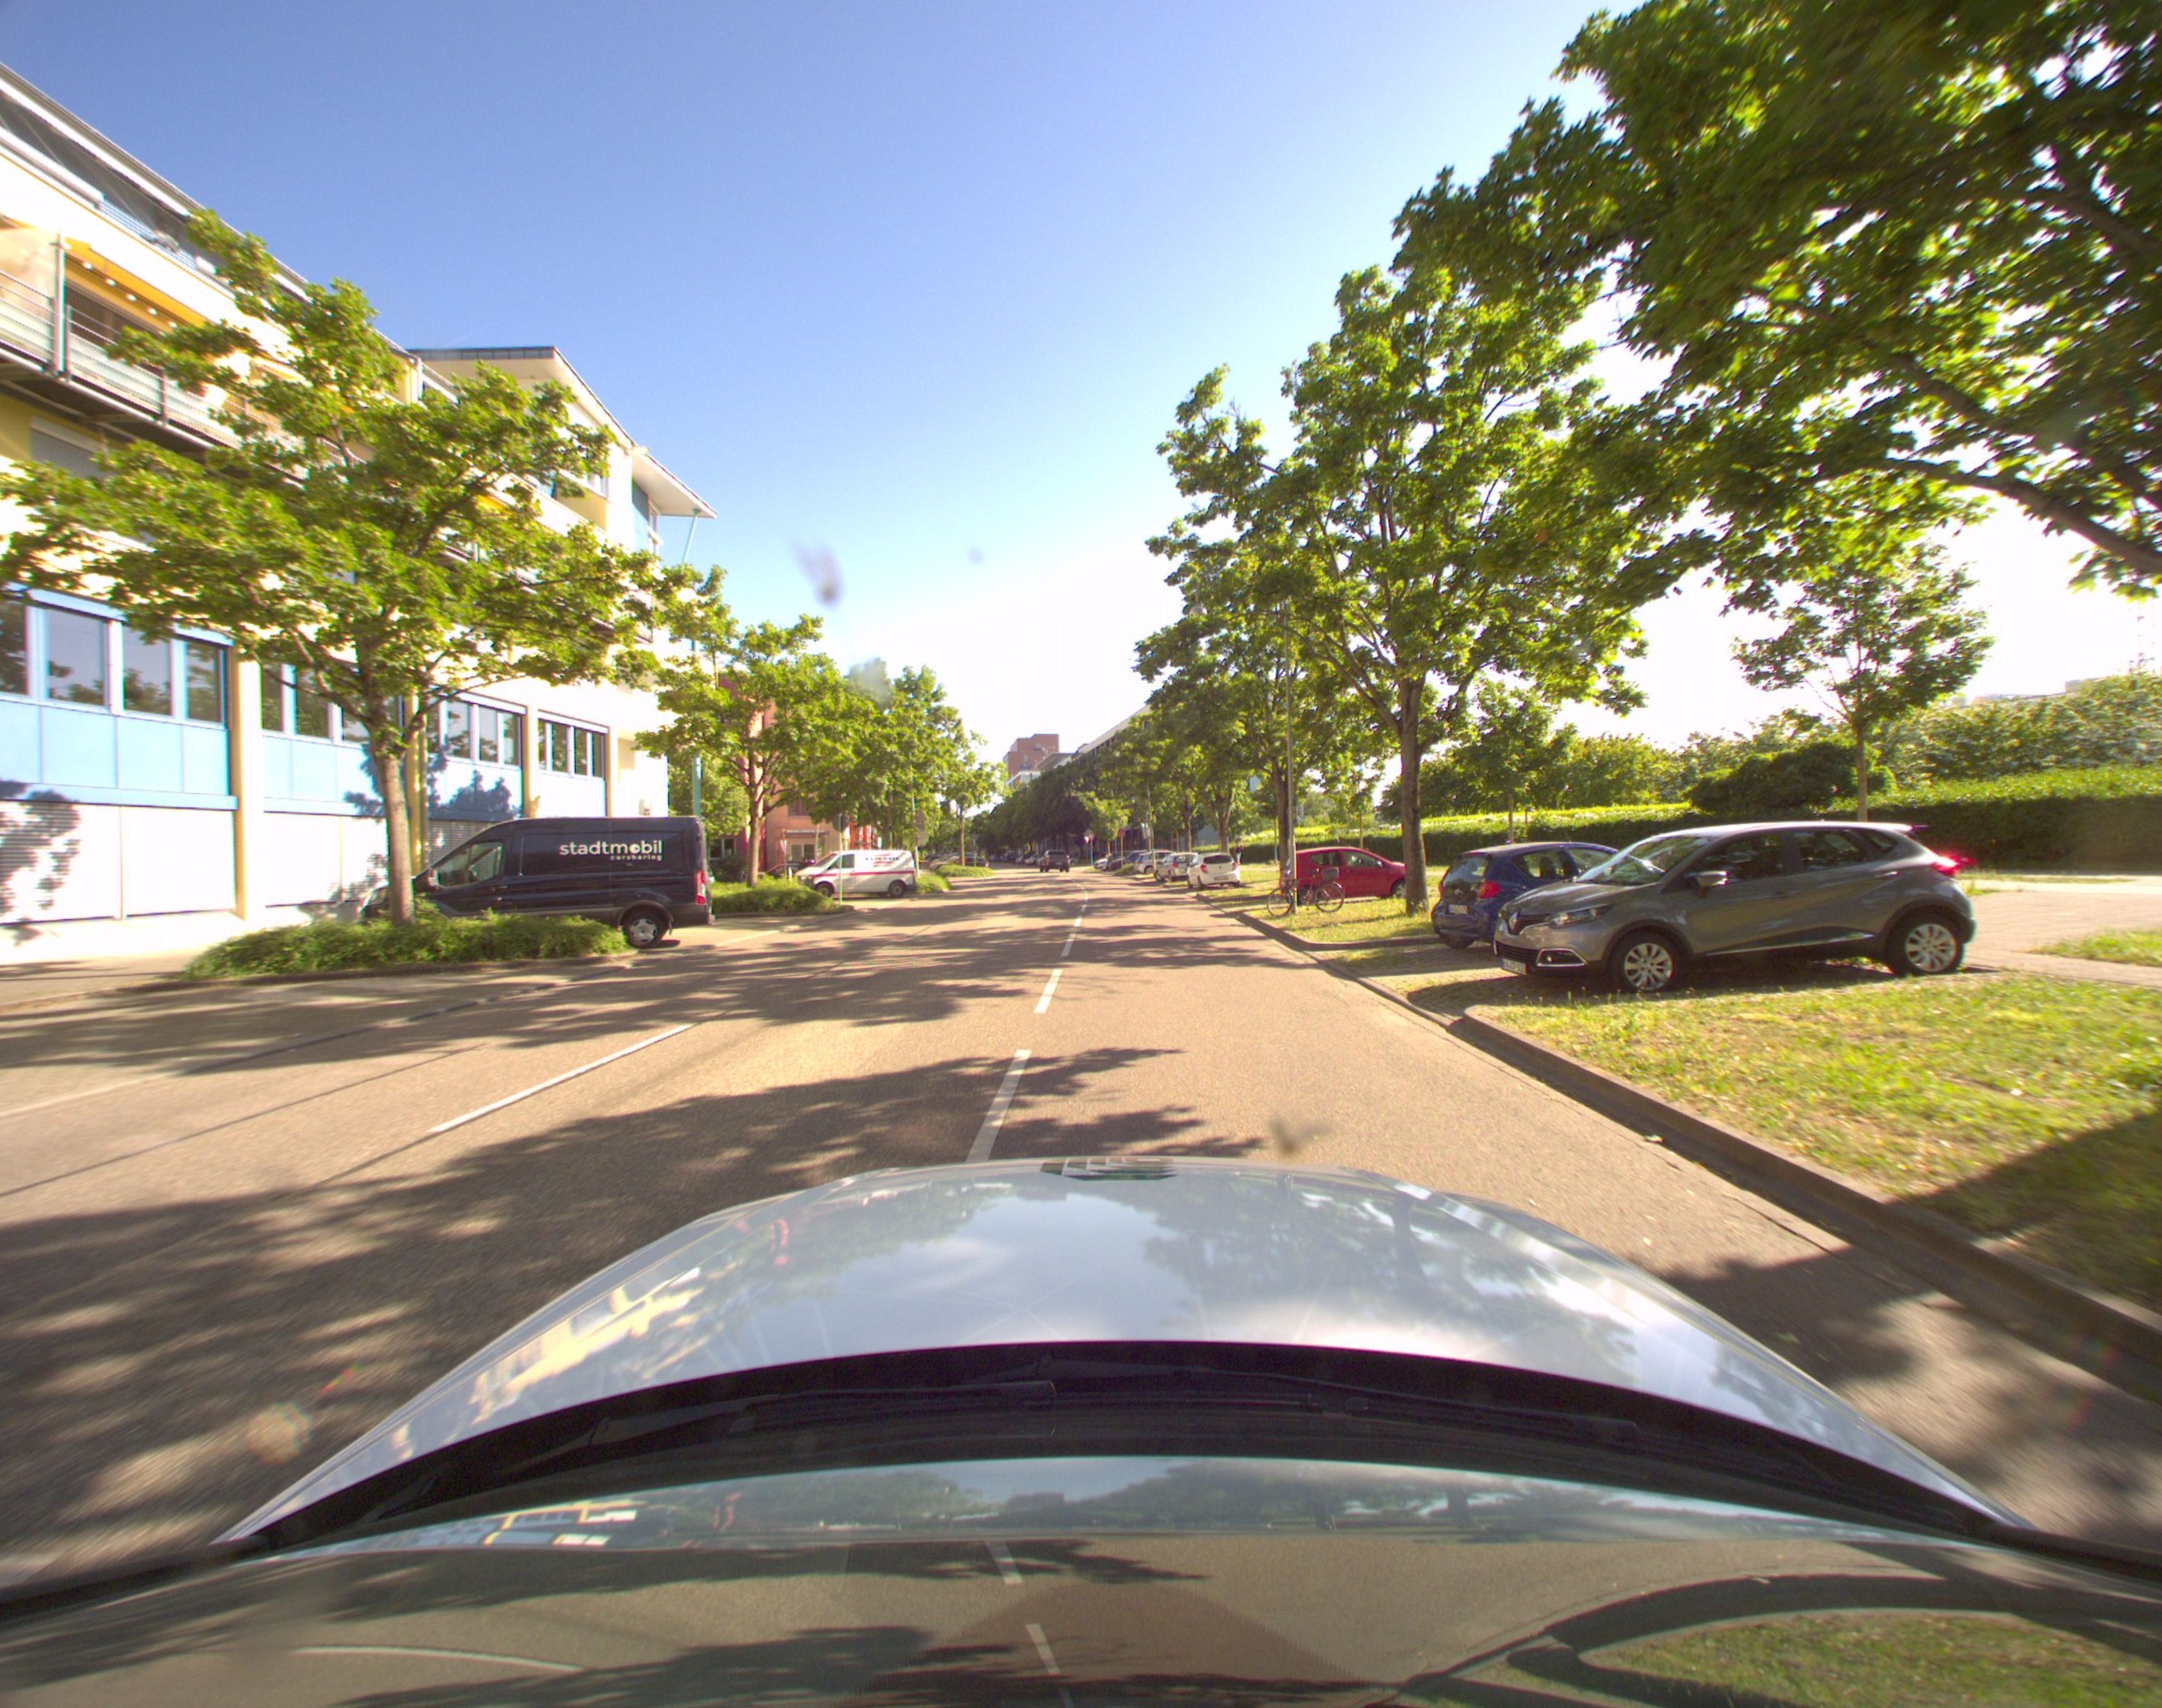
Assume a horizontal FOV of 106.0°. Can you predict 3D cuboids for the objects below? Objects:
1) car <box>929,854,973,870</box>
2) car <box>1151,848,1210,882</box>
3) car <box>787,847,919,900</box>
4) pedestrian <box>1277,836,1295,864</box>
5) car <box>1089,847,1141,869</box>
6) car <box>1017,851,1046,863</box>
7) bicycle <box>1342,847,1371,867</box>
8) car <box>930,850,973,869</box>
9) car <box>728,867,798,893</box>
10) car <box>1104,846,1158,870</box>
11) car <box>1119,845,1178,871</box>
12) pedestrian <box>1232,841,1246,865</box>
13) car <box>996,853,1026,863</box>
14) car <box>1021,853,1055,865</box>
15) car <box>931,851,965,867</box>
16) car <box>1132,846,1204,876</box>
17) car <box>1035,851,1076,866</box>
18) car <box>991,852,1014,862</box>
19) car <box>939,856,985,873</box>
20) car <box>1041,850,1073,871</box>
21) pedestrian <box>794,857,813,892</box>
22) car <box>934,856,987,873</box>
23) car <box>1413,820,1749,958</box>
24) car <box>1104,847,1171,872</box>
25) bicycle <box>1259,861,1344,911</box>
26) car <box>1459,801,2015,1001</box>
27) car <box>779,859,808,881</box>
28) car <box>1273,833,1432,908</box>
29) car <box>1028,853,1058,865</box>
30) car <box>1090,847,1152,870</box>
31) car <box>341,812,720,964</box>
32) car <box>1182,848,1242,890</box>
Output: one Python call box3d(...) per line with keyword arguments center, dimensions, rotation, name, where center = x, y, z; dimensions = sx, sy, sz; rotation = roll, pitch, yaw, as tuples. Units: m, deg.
box3d(center=(-11.704, 0.737, 73.304), dimensions=(3.893, 1.423, 1.733), rotation=(0, 0, -11), name="car")
box3d(center=(5.040, 0.544, 41.967), dimensions=(1.808, 1.493, 4.611), rotation=(-4, 0, -8), name="car")
box3d(center=(-9.245, 0.736, 33.144), dimensions=(4.791, 1.985, 1.978), rotation=(-1, 1, -36), name="car")
box3d(center=(12.231, -0.241, 48.646), dimensions=(0.723, 1.588, 0.850), rotation=(-2, 0, -9), name="pedestrian")
box3d(center=(2.876, 0.362, 68.482), dimensions=(3.958, 1.515, 1.692), rotation=(-4, 0, -17), name="car")
box3d(center=(-7.231, 0.421, 119.415), dimensions=(3.974, 1.420, 1.703), rotation=(-3, 0, -13), name="car")
box3d(center=(12.200, 0.128, 36.042), dimensions=(0.348, 0.866, 1.398), rotation=(-3, 0, -23), name="bicycle")
box3d(center=(-12.042, 0.515, 75.542), dimensions=(3.893, 1.811, 1.779), rotation=(0, 0, -11), name="car")
box3d(center=(-20.871, 1.699, 53.604), dimensions=(3.985, 1.447, 1.797), rotation=(-2, 2, -12), name="car")
box3d(center=(3.870, 0.315, 63.430), dimensions=(3.877, 1.515, 1.744), rotation=(-4, 0, -11), name="car")
box3d(center=(4.801, 0.305, 58.300), dimensions=(3.805, 1.448, 1.739), rotation=(-5, 0, -9), name="car")
box3d(center=(10.747, -0.070, 55.343), dimensions=(0.606, 1.542, 0.934), rotation=(-2, 0, -9), name="pedestrian")
box3d(center=(-12.124, 0.700, 141.460), dimensions=(4.831, 1.420, 2.023), rotation=(-3, 0, -13), name="car")
box3d(center=(-5.933, 0.701, 112.424), dimensions=(4.297, 1.493, 1.992), rotation=(-3, 0, -18), name="car")
box3d(center=(-17.977, 0.661, 109.893), dimensions=(4.487, 2.090, 2.076), rotation=(0, 0, -9), name="car")
box3d(center=(5.329, 0.419, 50.190), dimensions=(4.082, 1.429, 1.640), rotation=(-5, 0, -5), name="car")
box3d(center=(-2.986, 0.574, 95.371), dimensions=(4.579, 1.475, 1.740), rotation=(-3, 0, -11), name="car")
box3d(center=(-15.723, 0.622, 163.777), dimensions=(4.358, 1.704, 1.804), rotation=(-3, 0, -14), name="car")
box3d(center=(-10.362, 0.918, 70.799), dimensions=(3.893, 1.423, 1.733), rotation=(0, 0, -11), name="car")
box3d(center=(-2.031, 0.526, 67.841), dimensions=(1.994, 1.640, 3.985), rotation=(0, 0, -11), name="car")
box3d(center=(-14.248, 1.054, 41.809), dimensions=(0.656, 1.725, 1.019), rotation=(-3, 0, -7), name="pedestrian")
box3d(center=(-9.795, 0.852, 66.382), dimensions=(4.259, 1.423, 1.735), rotation=(0, 0, -8), name="car")
box3d(center=(6.743, 0.441, 11.268), dimensions=(3.453, 1.479, 1.858), rotation=(-4, 0, -2), name="car")
box3d(center=(4.222, 0.394, 60.906), dimensions=(4.551, 1.515, 2.150), rotation=(-4, 0, -11), name="car")
box3d(center=(4.840, 0.705, 17.952), dimensions=(1.739, 0.991, 0.532), rotation=(-3, 0, 13), name="bicycle")
box3d(center=(6.489, 0.438, 8.478), dimensions=(4.177, 1.546, 1.860), rotation=(-4, 0, 2), name="car")
box3d(center=(-21.188, 1.169, 59.906), dimensions=(1.741, 1.443, 4.101), rotation=(-3, 1, -22), name="car")
box3d(center=(6.823, 0.402, 20.715), dimensions=(3.421, 1.544, 1.628), rotation=(-5, 0, 2), name="car")
box3d(center=(-5.096, 0.657, 110.008), dimensions=(3.753, 1.493, 1.607), rotation=(-3, 0, -18), name="car")
box3d(center=(3.199, 0.404, 65.900), dimensions=(4.561, 1.515, 1.971), rotation=(-4, 0, -17), name="car")
box3d(center=(-9.777, 0.515, 15.184), dimensions=(5.515, 2.436, 2.168), rotation=(-1, 0, -26), name="car")
box3d(center=(5.378, 0.584, 33.862), dimensions=(1.639, 1.493, 3.761), rotation=(-4, 0, -3), name="car")
